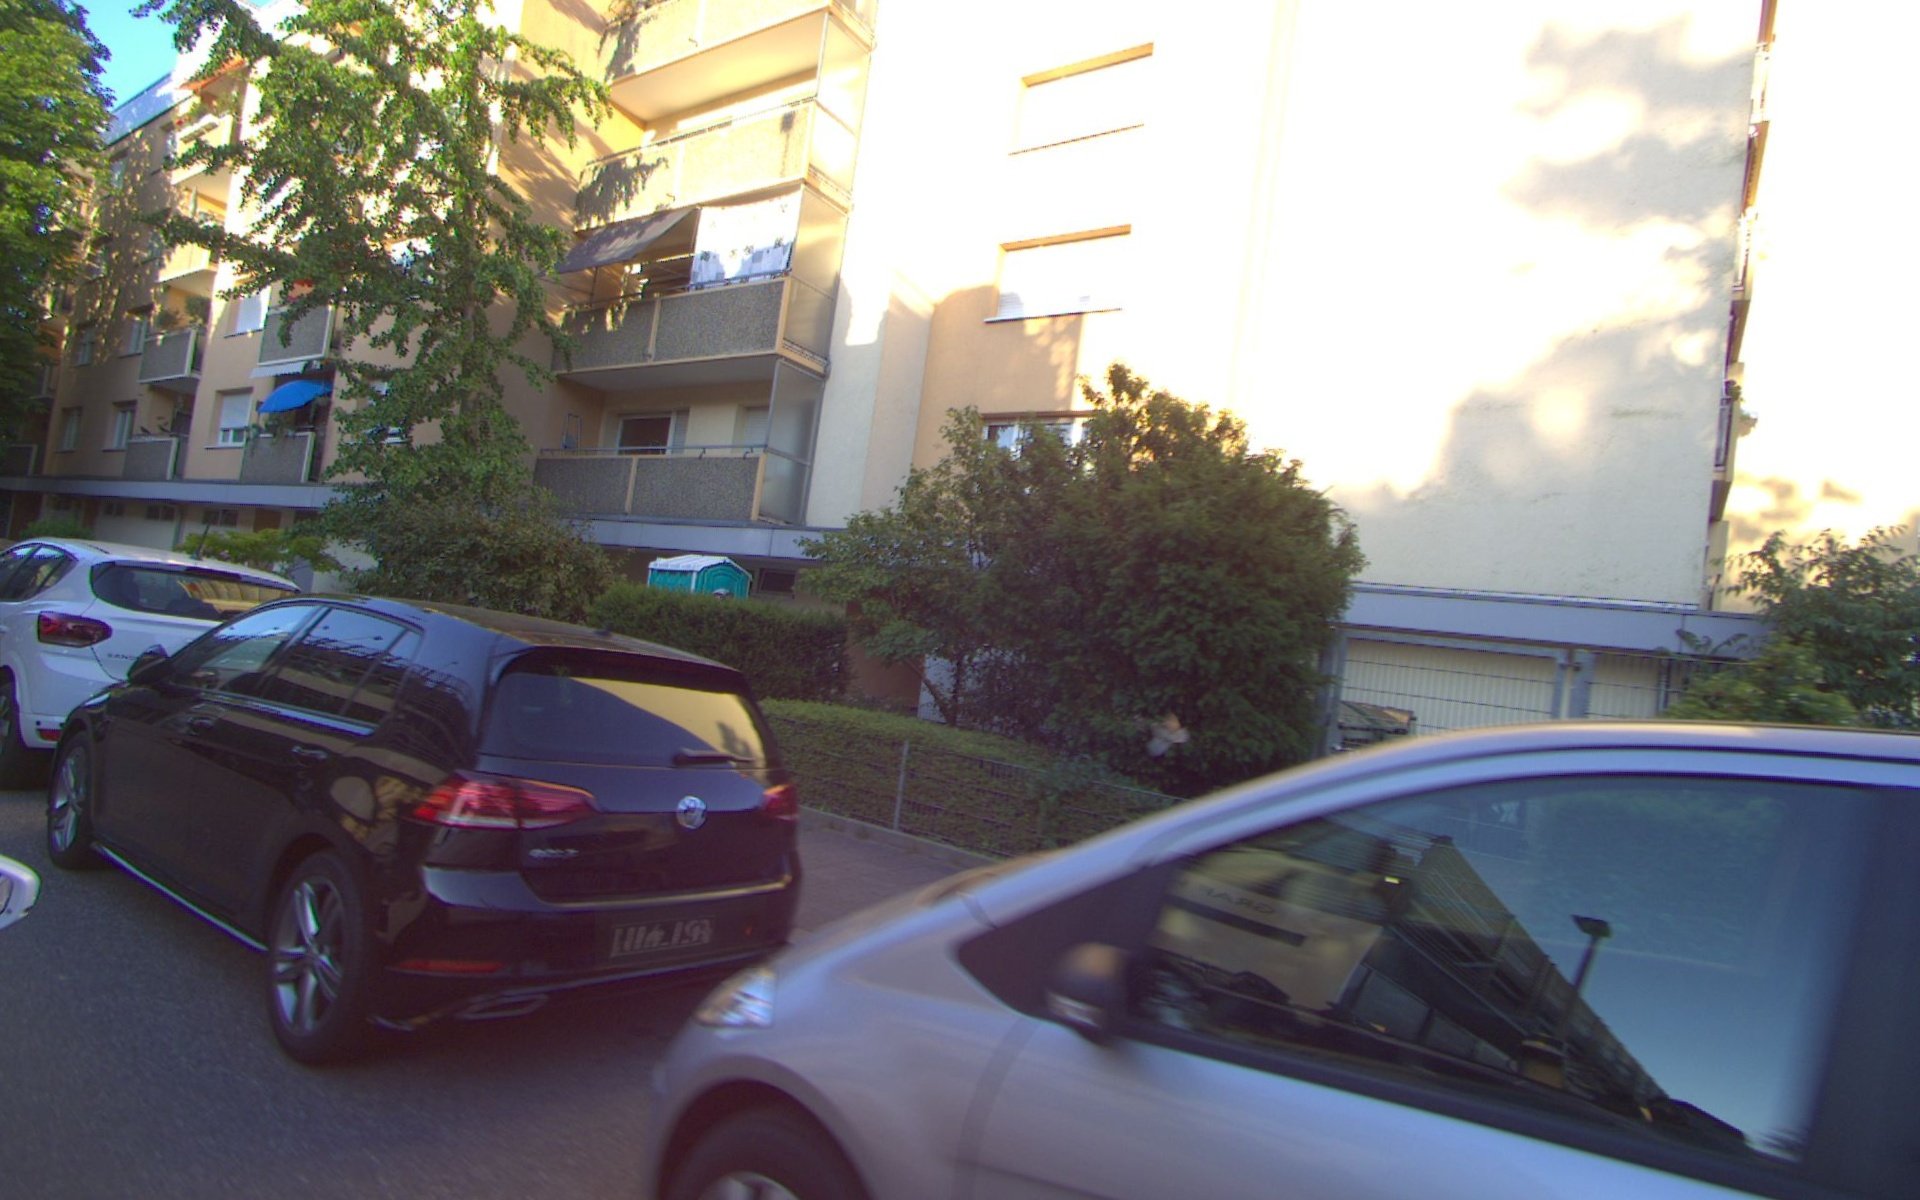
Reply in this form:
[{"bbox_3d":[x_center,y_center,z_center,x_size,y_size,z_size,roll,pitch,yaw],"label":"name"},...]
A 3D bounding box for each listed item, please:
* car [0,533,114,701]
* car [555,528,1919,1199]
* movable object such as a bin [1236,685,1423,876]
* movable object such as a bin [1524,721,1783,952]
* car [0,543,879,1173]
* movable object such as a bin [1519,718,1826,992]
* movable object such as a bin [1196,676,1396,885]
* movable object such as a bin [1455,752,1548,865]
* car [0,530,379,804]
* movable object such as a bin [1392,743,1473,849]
[{"bbox_3d":[-10.558,-0.052,10.221,4.553,1.432,1.812,6,-3,36],"label":"car"},{"bbox_3d":[1.304,0.915,1.690,3.824,1.593,1.812,6,-3,36],"label":"car"},{"bbox_3d":[3.448,1.626,9.338,1.279,1.431,1.186,7,-3,32],"label":"movable object such as a bin"},{"bbox_3d":[5.745,1.901,8.481,1.556,1.487,1.186,7,-3,32],"label":"movable object such as a bin"},{"bbox_3d":[-2.500,0.707,4.466,3.965,1.434,1.719,6,-3,36],"label":"car"},{"bbox_3d":[5.040,1.735,7.277,1.556,1.487,1.126,7,-3,32],"label":"movable object such as a bin"},{"bbox_3d":[2.827,1.468,8.454,1.279,1.431,0.878,7,-2,32],"label":"movable object such as a bin"},{"bbox_3d":[6.161,2.344,11.432,0.745,1.094,0.781,7,-3,35],"label":"movable object such as a bin"},{"bbox_3d":[-6.131,0.343,7.271,3.836,1.432,1.812,6,-3,36],"label":"car"},{"bbox_3d":[5.583,2.287,11.874,0.636,1.094,0.781,7,-3,35],"label":"movable object such as a bin"}]
